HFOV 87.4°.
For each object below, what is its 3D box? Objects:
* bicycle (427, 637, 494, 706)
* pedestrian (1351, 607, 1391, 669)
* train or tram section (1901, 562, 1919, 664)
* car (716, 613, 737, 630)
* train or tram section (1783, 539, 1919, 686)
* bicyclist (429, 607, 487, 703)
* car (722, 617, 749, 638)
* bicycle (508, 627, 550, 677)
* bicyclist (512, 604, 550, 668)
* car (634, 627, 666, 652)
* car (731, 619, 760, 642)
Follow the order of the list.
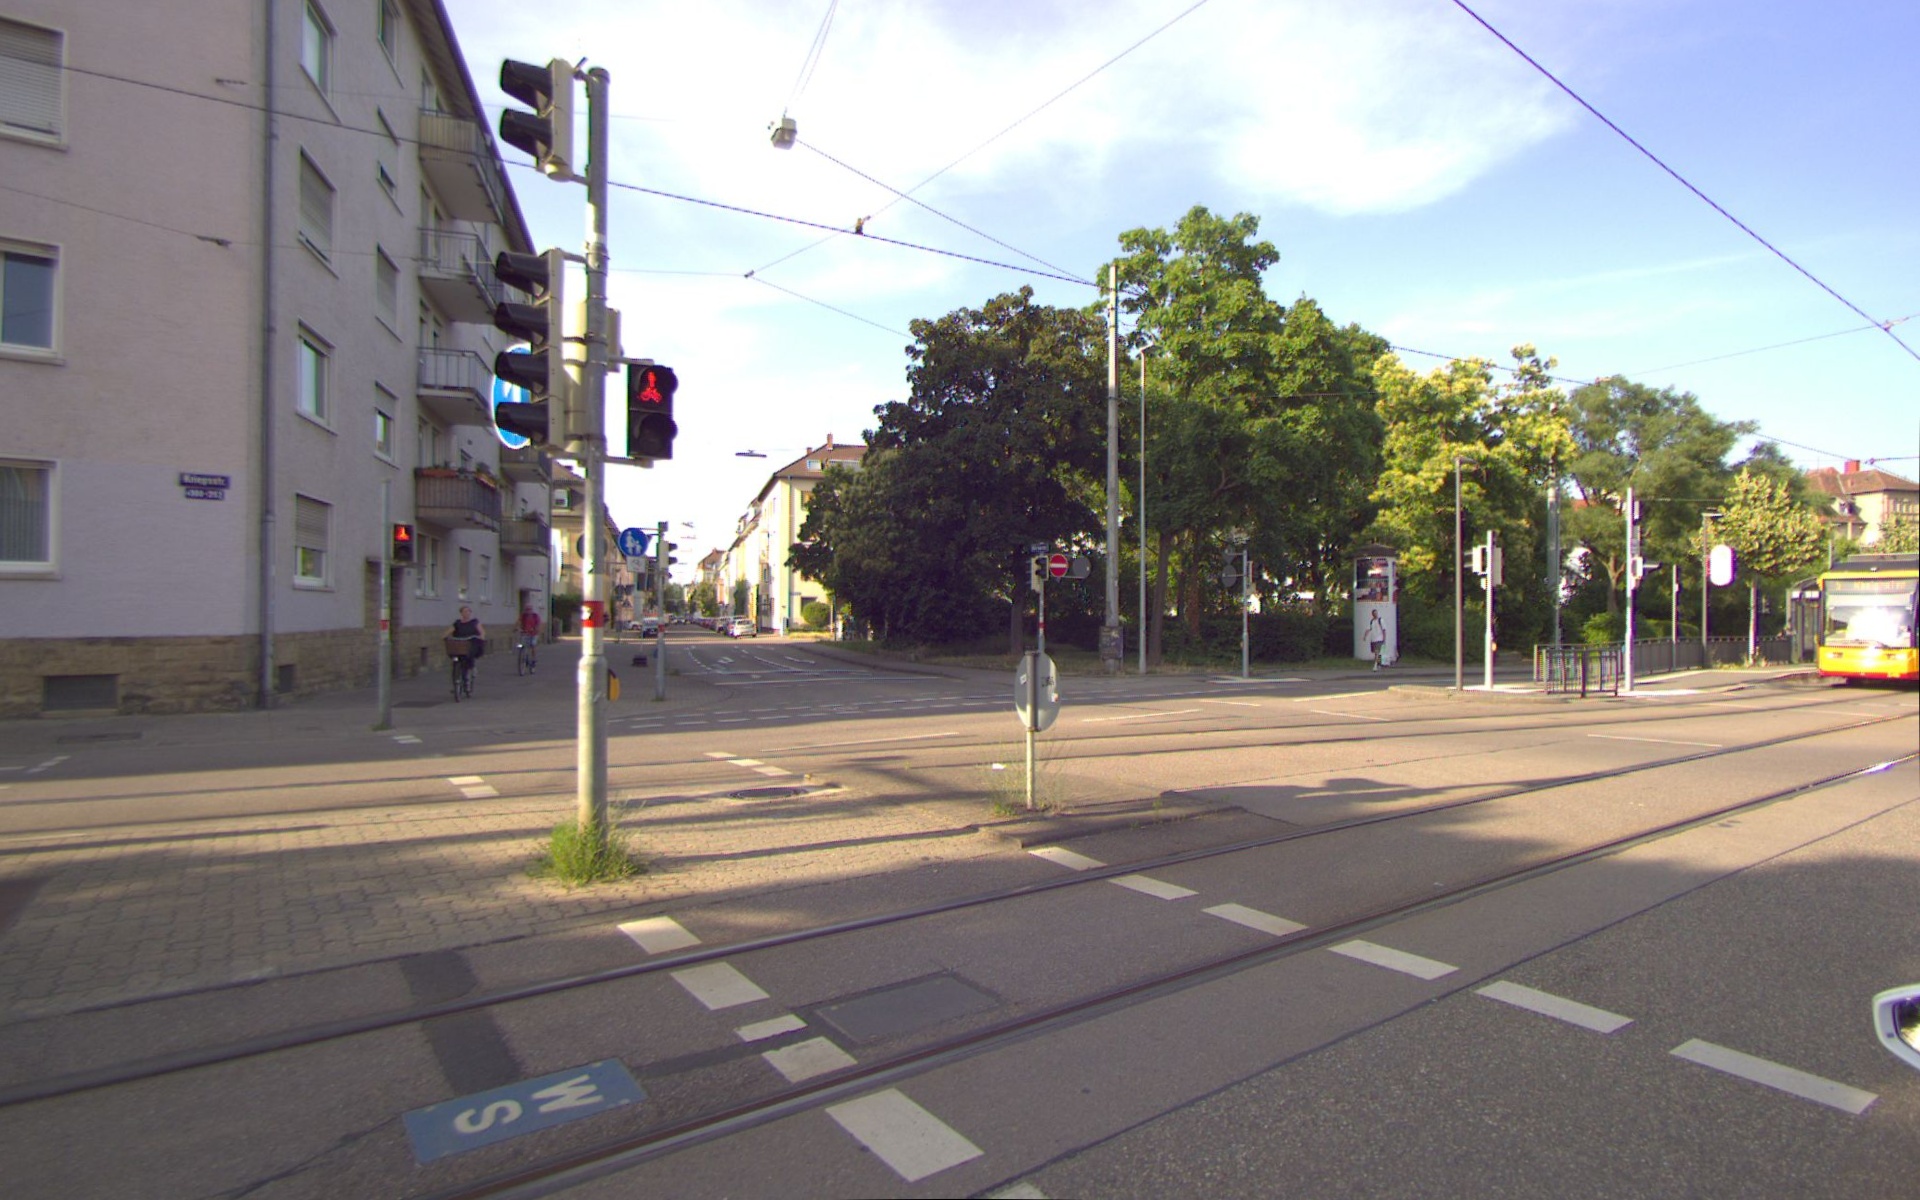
[{"bbox_3d":[-8.988,1.258,18.144,0.723,1.125,1.911,0,-1,-15],"label":"bicycle"},{"bbox_3d":[13.158,1.210,32.138,0.991,1.935,0.704,1,0,41],"label":"pedestrian"},{"bbox_3d":[39.356,0.533,38.099,14.341,3.526,3.138,1,0,-38],"label":"train or tram section"},{"bbox_3d":[-25.476,2.373,109.382,1.967,1.748,3.986,1,0,-16],"label":"car"},{"bbox_3d":[28.023,0.377,29.290,14.401,3.526,3.138,1,0,-38],"label":"train or tram section"},{"bbox_3d":[-8.929,0.961,17.910,0.781,1.664,0.771,0,-1,-16],"label":"bicyclist"},{"bbox_3d":[-19.622,2.399,87.697,1.967,1.748,3.986,1,0,-16],"label":"car"},{"bbox_3d":[-11.280,1.333,26.332,0.723,1.219,1.975,1,0,-15],"label":"bicycle"},{"bbox_3d":[-11.239,0.932,26.322,0.800,1.664,0.851,1,0,-16],"label":"bicyclist"},{"bbox_3d":[-24.178,3.042,78.288,1.971,1.748,3.978,1,0,-23],"label":"car"},{"bbox_3d":[-17.083,2.412,79.874,1.967,1.748,3.986,1,0,-16],"label":"car"}]
